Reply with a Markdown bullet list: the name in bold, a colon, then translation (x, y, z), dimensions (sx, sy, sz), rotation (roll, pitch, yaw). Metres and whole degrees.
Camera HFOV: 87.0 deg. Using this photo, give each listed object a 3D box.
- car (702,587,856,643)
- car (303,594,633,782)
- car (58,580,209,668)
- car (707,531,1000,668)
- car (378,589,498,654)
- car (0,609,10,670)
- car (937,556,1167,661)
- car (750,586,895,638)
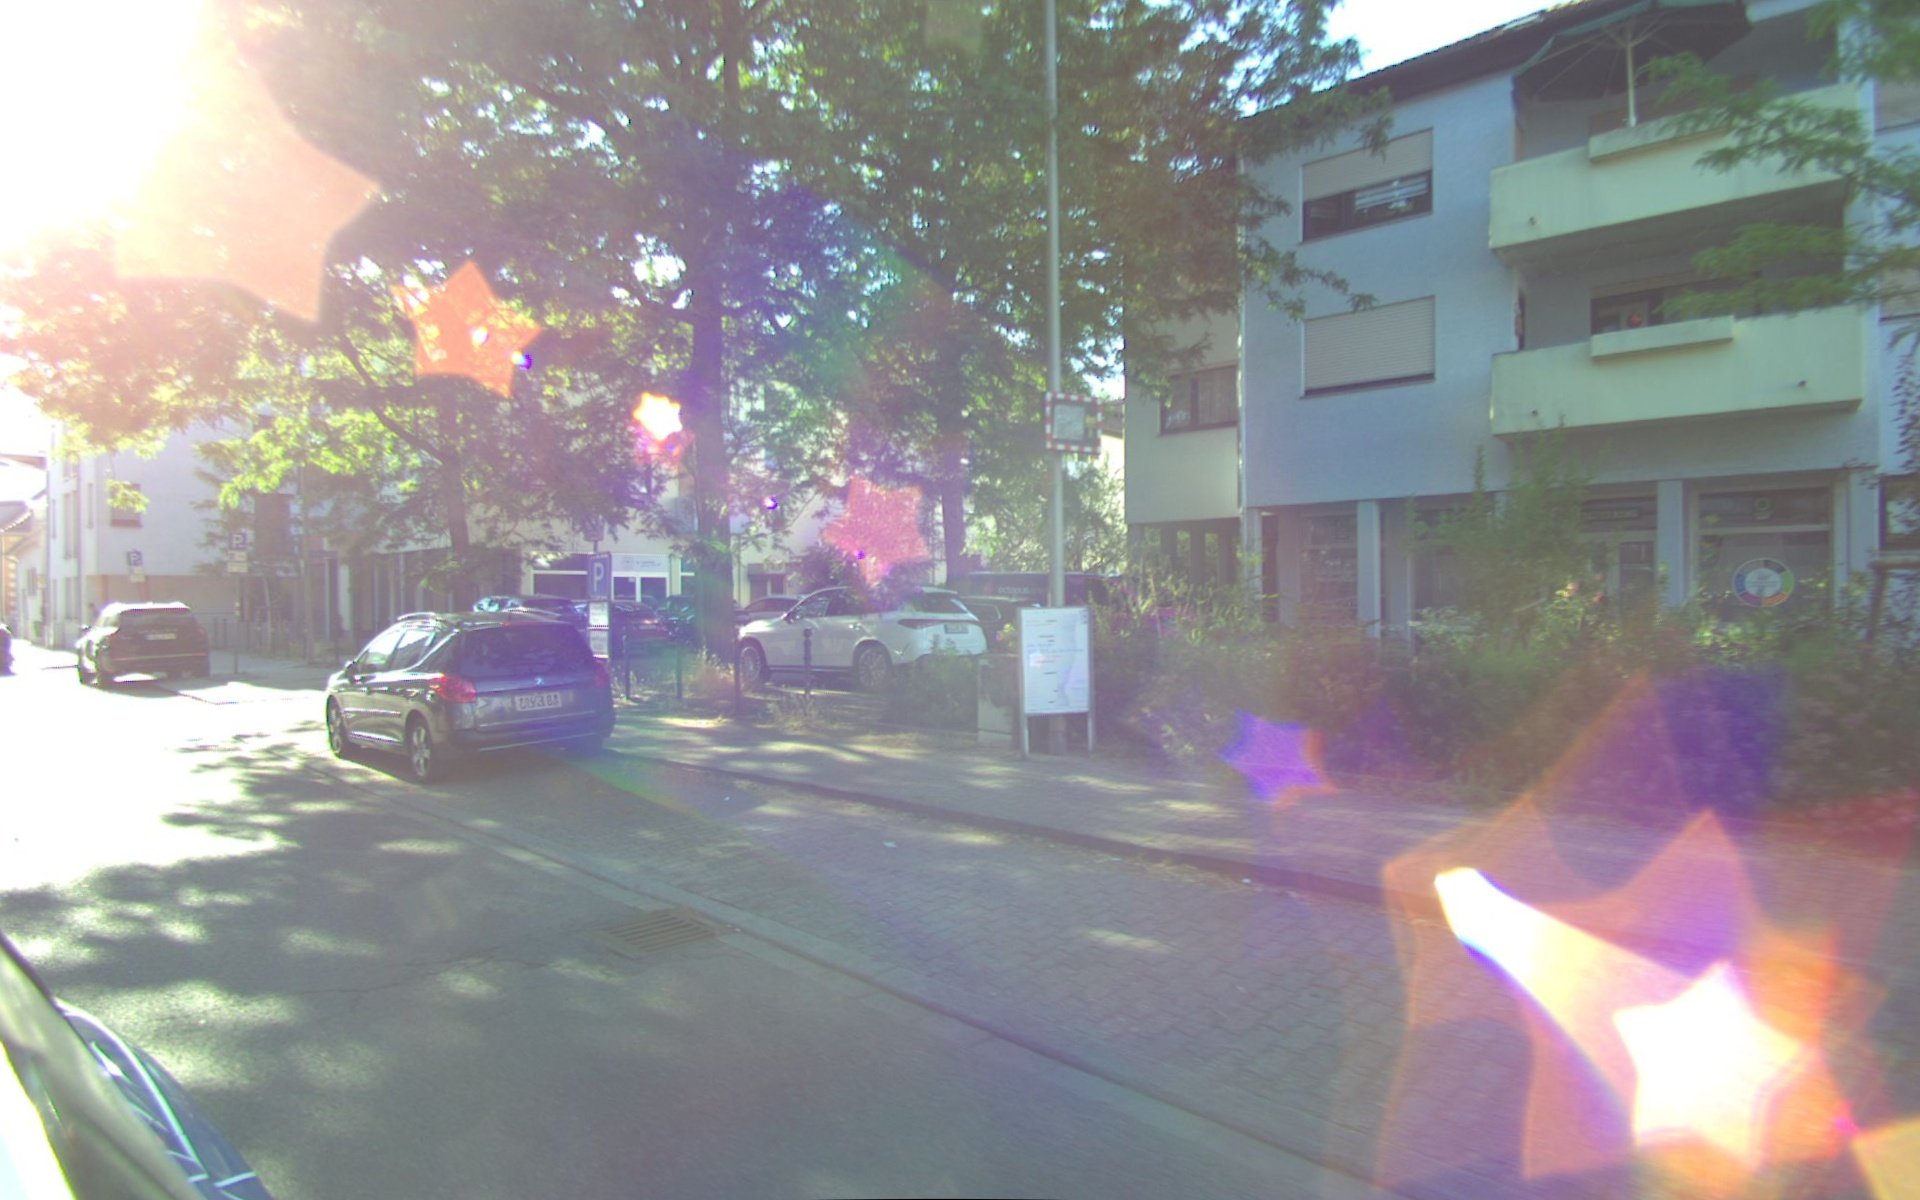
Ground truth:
- **car**: translation (-5.555, 0.431, 30.740), dimensions (4.829, 1.486, 1.974), rotation (0, 3, 40)
- **car**: translation (-5.134, 0.731, 10.308), dimensions (4.000, 1.503, 1.678), rotation (0, 1, 43)
- **car**: translation (-18.950, 0.493, 23.109), dimensions (5.100, 1.717, 1.911), rotation (0, 3, 43)
- **car**: translation (-1.856, 0.018, 16.356), dimensions (4.903, 1.909, 1.824), rotation (-1, 0, 41)
- **car**: translation (-12.434, 0.477, 24.032), dimensions (1.503, 1.419, 3.641), rotation (-1, 0, -45)
- **car**: translation (-27.211, 1.050, 27.350), dimensions (4.318, 1.588, 1.918), rotation (0, 0, 42)
- **car**: translation (1.875, 0.173, 20.955), dimensions (4.310, 1.963, 2.002), rotation (-1, 0, 33)
- **car**: translation (-4.639, 0.402, 33.550), dimensions (5.187, 1.572, 1.917), rotation (-1, 0, 43)
